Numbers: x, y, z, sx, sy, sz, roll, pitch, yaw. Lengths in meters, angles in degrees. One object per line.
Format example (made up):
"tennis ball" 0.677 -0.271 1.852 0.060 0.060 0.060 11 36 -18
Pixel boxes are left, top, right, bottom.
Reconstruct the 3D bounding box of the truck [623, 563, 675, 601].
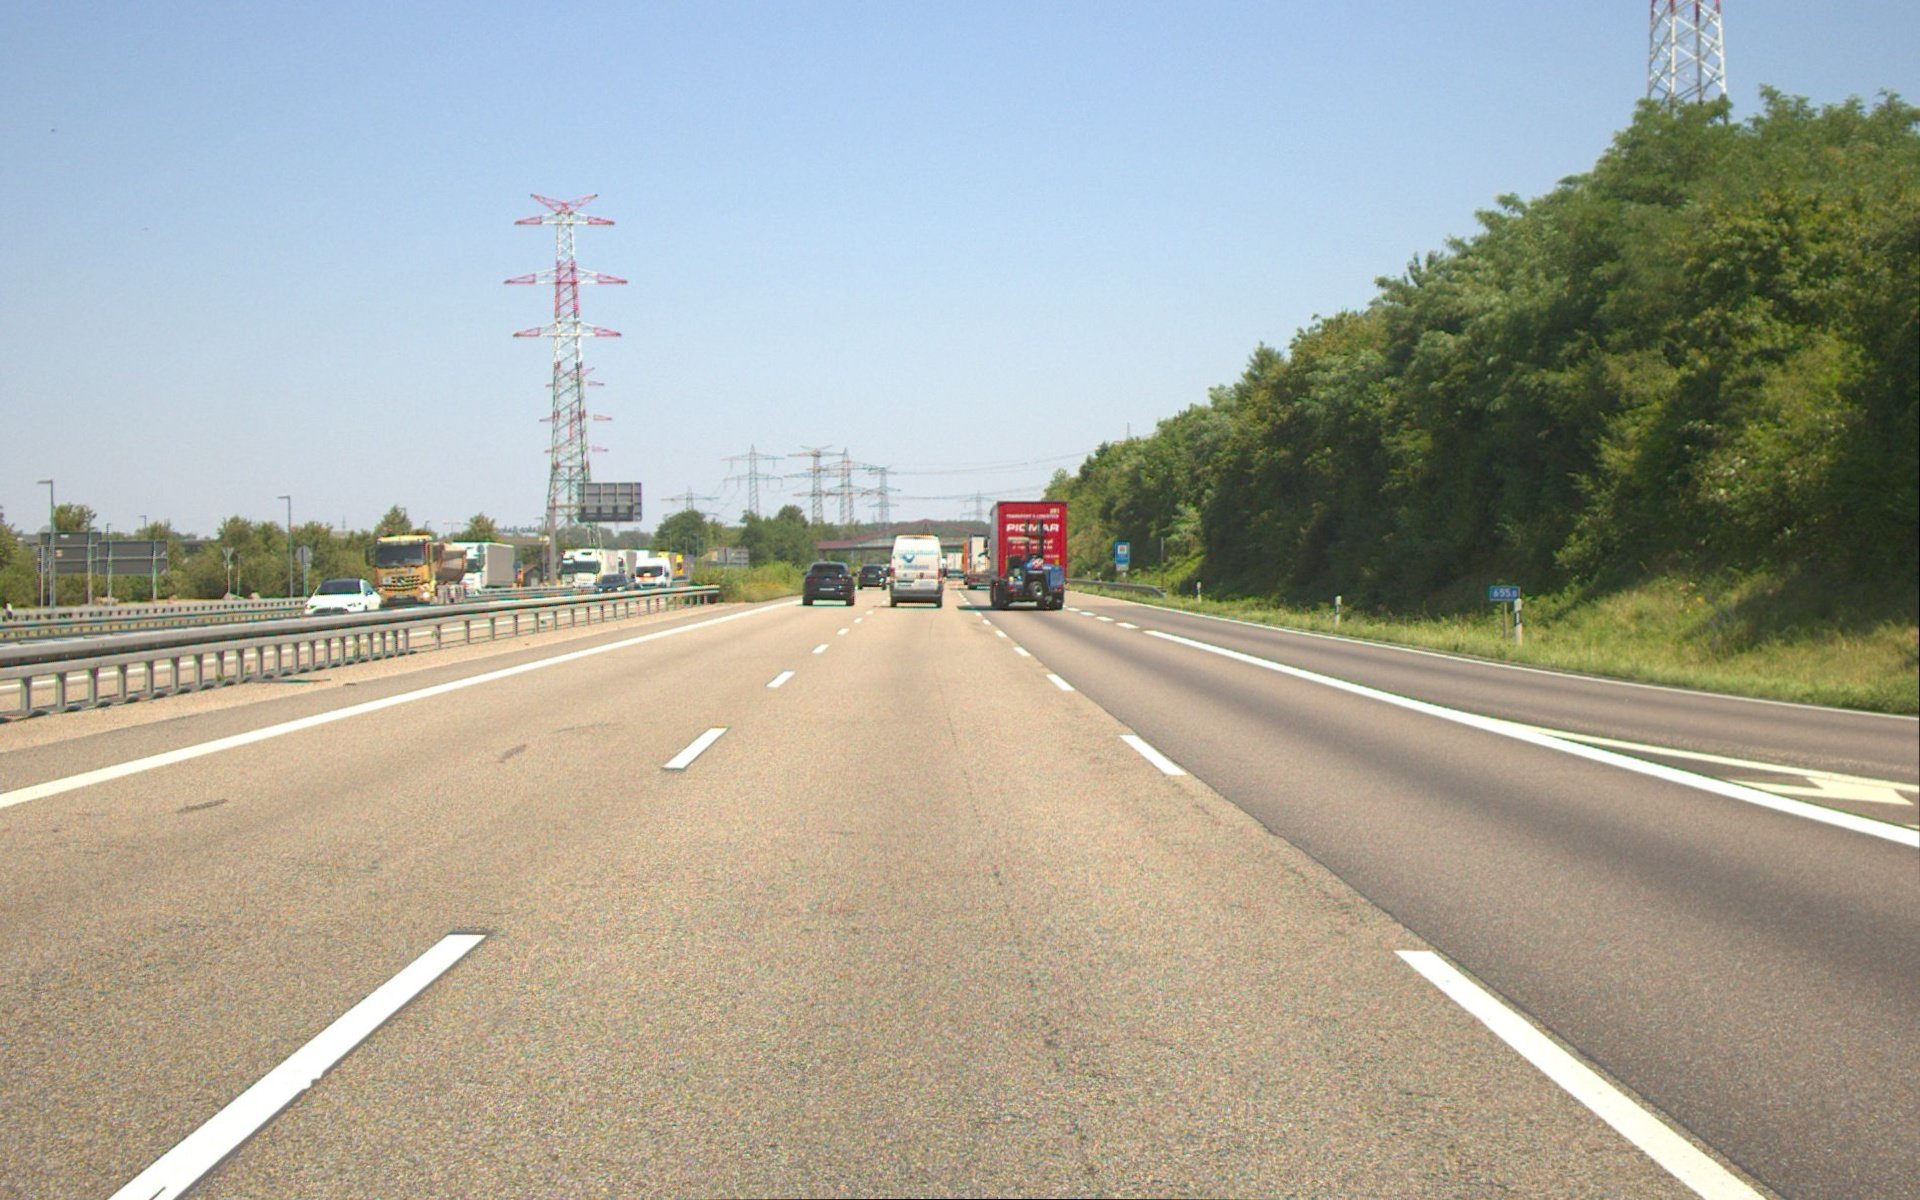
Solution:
"truck" -20.237 -1.165 224.124 2.717 2.413 8.107 0 0 0

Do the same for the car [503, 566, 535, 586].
"car" -30.503 -1.669 237.807 1.815 1.386 3.904 -1 1 -1

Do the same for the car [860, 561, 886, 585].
"car" -6.070 -1.898 238.935 1.747 1.628 4.004 1 1 -1

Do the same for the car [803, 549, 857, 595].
"car" -5.064 -1.109 134.353 1.993 1.744 4.000 1 1 -1

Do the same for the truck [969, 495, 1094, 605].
"truck" 2.627 -1.948 133.776 4.331 3.928 16.078 1 1 -1

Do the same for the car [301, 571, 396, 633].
"car" -18.760 0.026 105.662 2.052 1.836 5.473 -1 1 -1

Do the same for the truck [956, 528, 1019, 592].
"truck" 1.989 -3.001 256.581 4.331 4.508 16.078 1 1 -1

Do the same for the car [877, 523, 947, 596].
"car" -1.888 -1.604 135.044 2.621 2.750 6.097 1 1 -1

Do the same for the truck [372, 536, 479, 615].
"truck" -22.886 -1.039 147.849 2.717 3.248 12.388 0 0 0

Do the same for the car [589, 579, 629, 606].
"car" -18.459 -0.407 180.896 1.815 1.386 3.904 -1 1 -1
